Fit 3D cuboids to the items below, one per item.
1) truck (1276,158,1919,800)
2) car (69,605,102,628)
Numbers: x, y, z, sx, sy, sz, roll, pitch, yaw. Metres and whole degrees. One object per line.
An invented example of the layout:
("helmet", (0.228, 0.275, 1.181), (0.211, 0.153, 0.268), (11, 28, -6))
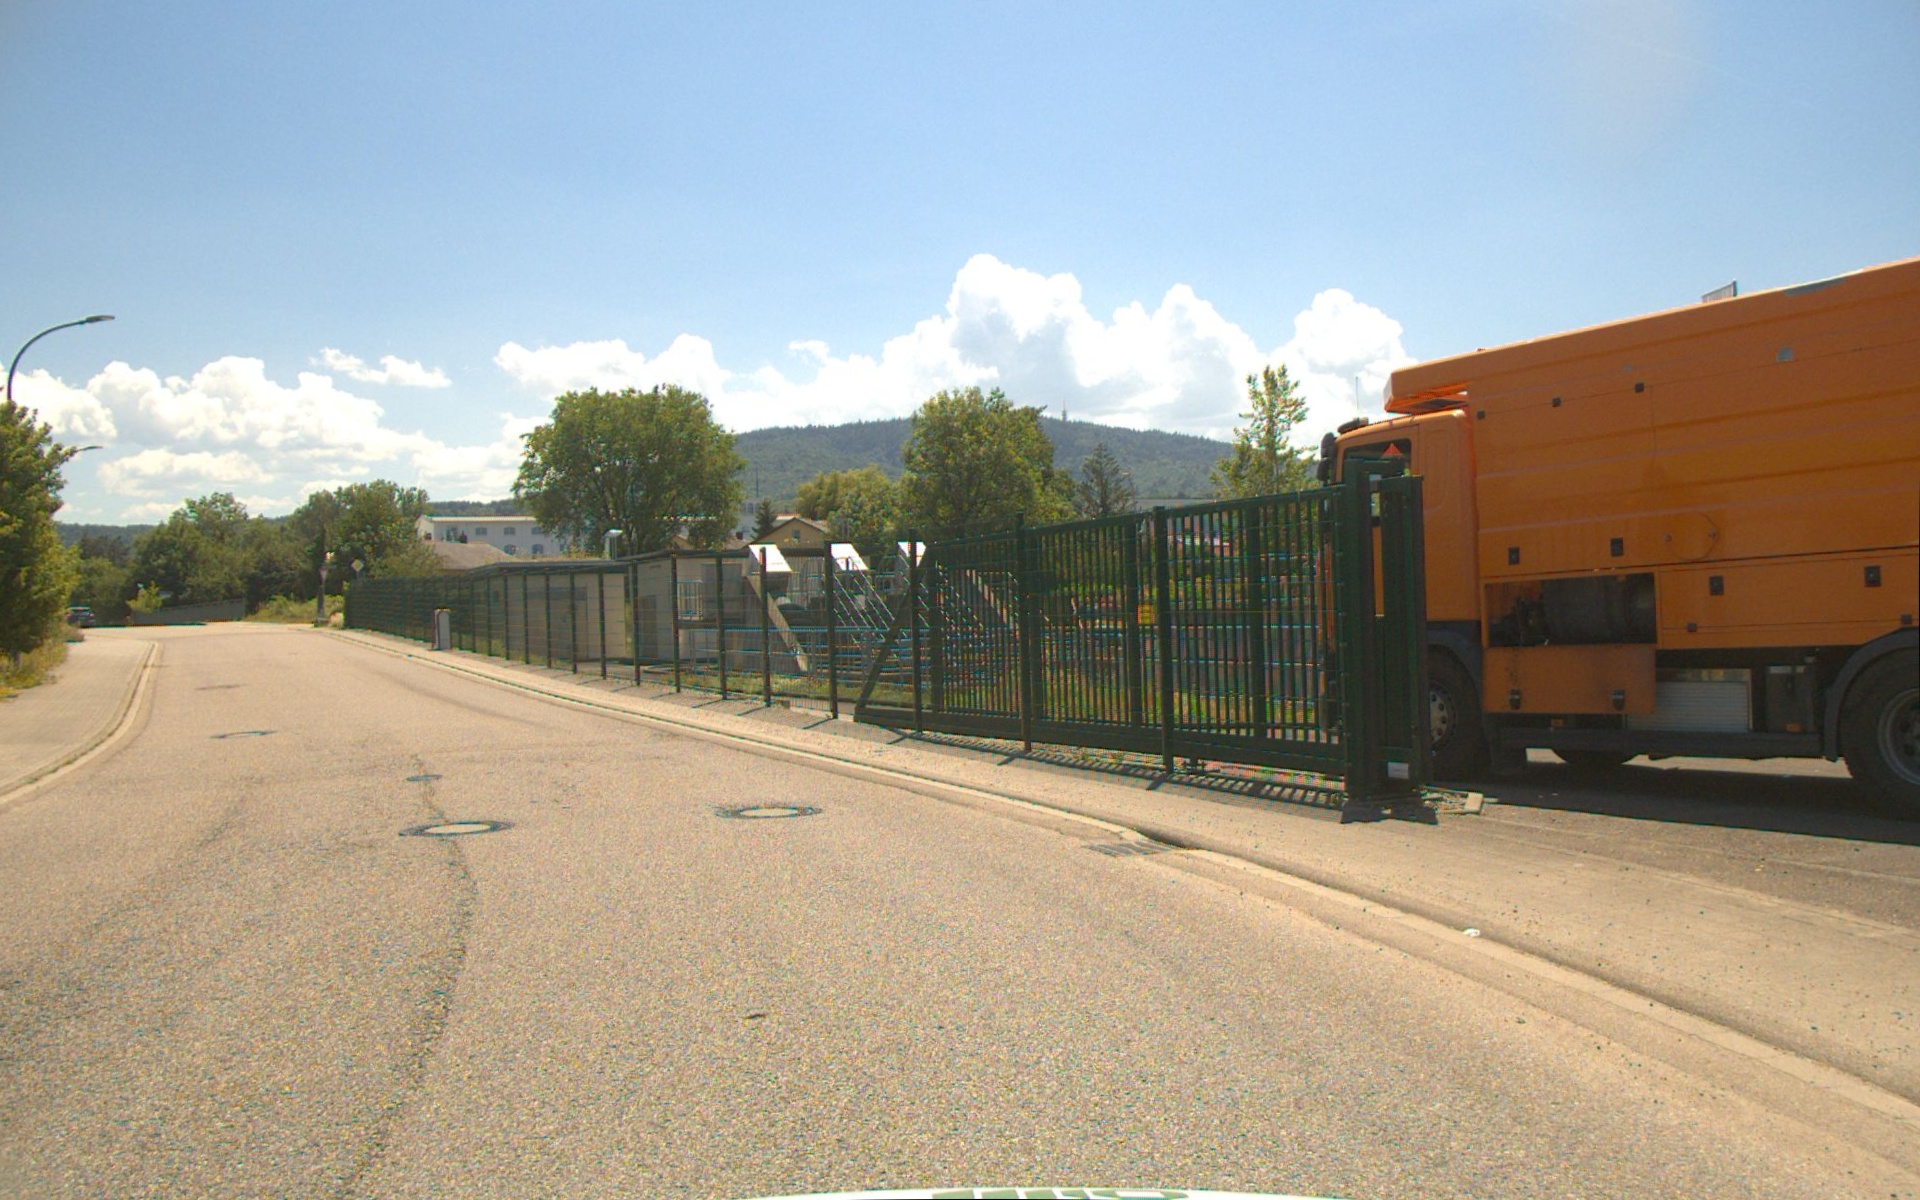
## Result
("truck", (6.870, -0.767, 12.142), (4.114, 3.872, 8.512), (-2, 0, -33))
("car", (-60.947, 1.137, 115.240), (1.759, 1.473, 3.414), (-2, 1, -32))
